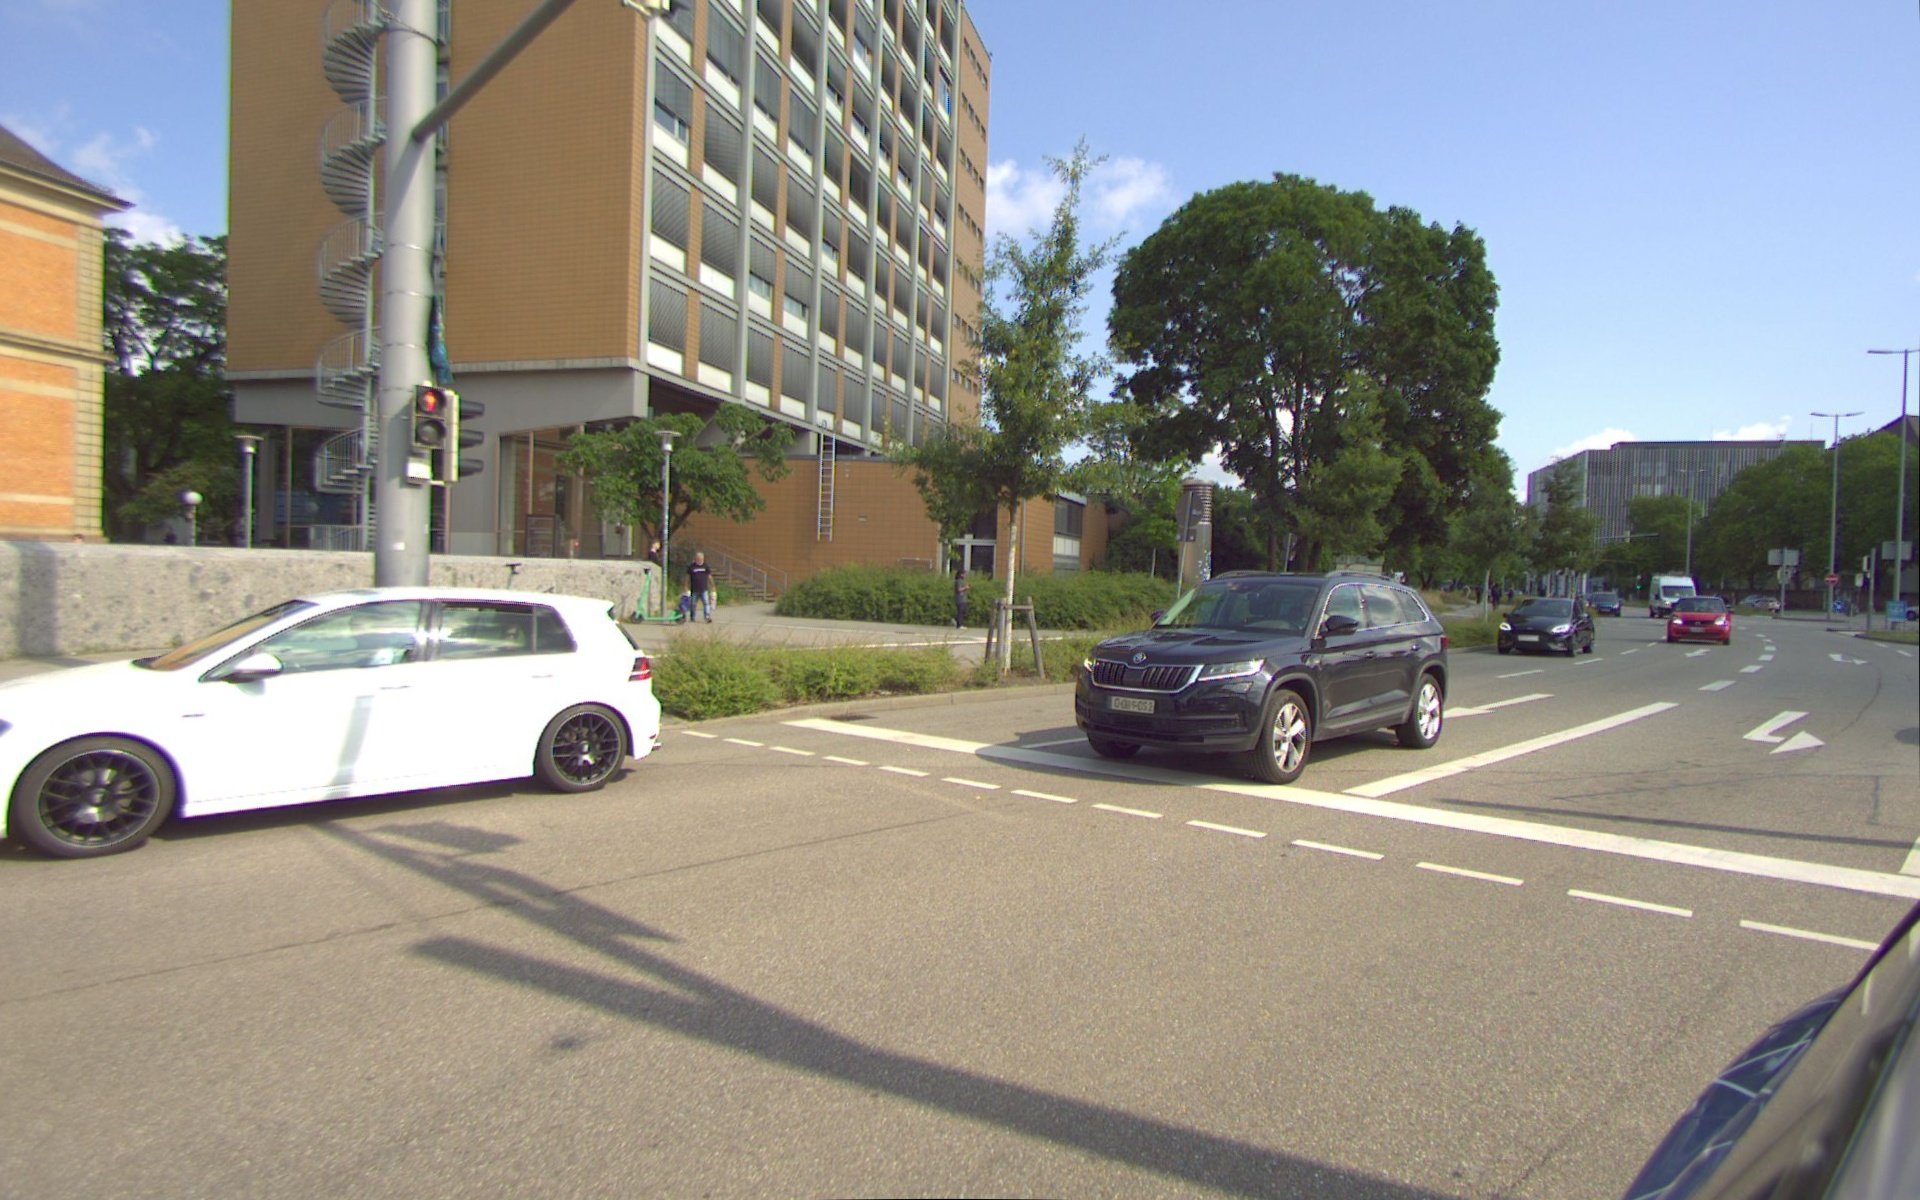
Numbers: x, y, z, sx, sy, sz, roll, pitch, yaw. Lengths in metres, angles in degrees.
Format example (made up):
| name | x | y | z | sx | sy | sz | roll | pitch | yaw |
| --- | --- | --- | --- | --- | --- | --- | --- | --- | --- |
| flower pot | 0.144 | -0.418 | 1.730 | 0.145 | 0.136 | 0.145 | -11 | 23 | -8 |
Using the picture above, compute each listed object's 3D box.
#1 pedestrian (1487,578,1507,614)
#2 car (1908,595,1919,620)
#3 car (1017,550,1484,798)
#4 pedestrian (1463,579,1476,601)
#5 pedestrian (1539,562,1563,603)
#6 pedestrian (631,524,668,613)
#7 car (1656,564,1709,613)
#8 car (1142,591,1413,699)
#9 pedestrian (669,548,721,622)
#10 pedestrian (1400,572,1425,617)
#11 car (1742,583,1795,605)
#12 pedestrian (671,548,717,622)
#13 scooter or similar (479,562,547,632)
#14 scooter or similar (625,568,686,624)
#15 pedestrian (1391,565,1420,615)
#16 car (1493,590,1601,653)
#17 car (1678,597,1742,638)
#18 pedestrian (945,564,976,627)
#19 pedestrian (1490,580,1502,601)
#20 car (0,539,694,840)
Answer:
| name | x | y | z | sx | sy | sz | roll | pitch | yaw |
| --- | --- | --- | --- | --- | --- | --- | --- | --- | --- |
| pedestrian | 31.005 | -0.220 | 58.403 | 0.979 | 2.039 | 1.118 | -1 | 0 | 30 |
| car | 62.656 | 0.572 | 63.222 | 1.959 | 1.588 | 4.791 | 1 | 1 | -9 |
| car | 2.835 | 0.469 | 9.214 | 4.605 | 1.689 | 1.996 | 0 | 2 | -43 |
| pedestrian | 47.581 | -0.921 | 94.419 | 0.979 | 2.038 | 1.118 | 2 | 1 | 30 |
| pedestrian | 29.708 | -0.855 | 50.907 | 0.979 | 2.039 | 1.118 | -1 | 0 | 30 |
| pedestrian | -7.291 | -0.734 | 23.729 | 0.791 | 2.038 | 0.727 | 1 | 3 | -18 |
| car | 45.850 | -0.762 | 64.315 | 2.470 | 2.915 | 6.074 | 2 | 2 | 34 |
| car | 4.977 | 0.568 | 15.560 | 4.431 | 1.416 | 1.997 | 0 | 1 | -42 |
| pedestrian | -5.991 | -0.351 | 22.886 | 0.762 | 1.607 | 0.762 | 5 | 3 | 39 |
| pedestrian | 18.730 | -0.233 | 41.871 | 0.634 | 1.767 | 0.671 | 0 | 4 | -43 |
| car | 66.021 | -0.512 | 82.713 | 1.974 | 1.705 | 4.316 | 0 | 0 | 19 |
| pedestrian | -5.993 | -0.347 | 22.856 | 0.919 | 1.607 | 0.767 | 3 | 2 | -13 |
| scooter or similar | -8.088 | -0.070 | 18.324 | 1.172 | 1.211 | 0.401 | 2 | 1 | 21 |
| scooter or similar | -6.481 | -0.095 | 21.547 | 1.163 | 1.144 | 0.404 | 2 | 1 | -5 |
| pedestrian | 17.360 | -0.386 | 39.442 | 0.634 | 1.894 | 0.759 | 0 | 3 | -43 |
| car | 15.200 | 0.503 | 26.114 | 1.707 | 1.472 | 3.941 | 2 | 1 | 41 |
| car | 24.776 | 0.543 | 33.404 | 1.601 | 1.229 | 2.969 | -1 | 1 | 38 |
| pedestrian | 0.016 | -0.112 | 25.226 | 0.570 | 1.539 | 0.480 | 0 | 2 | -36 |
| pedestrian | 53.665 | -0.947 | 101.307 | 0.979 | 2.038 | 1.118 | 2 | 1 | 29 |
| car | -4.052 | 0.509 | 6.668 | 4.160 | 1.465 | 1.680 | 2 | -4 | -43 |
